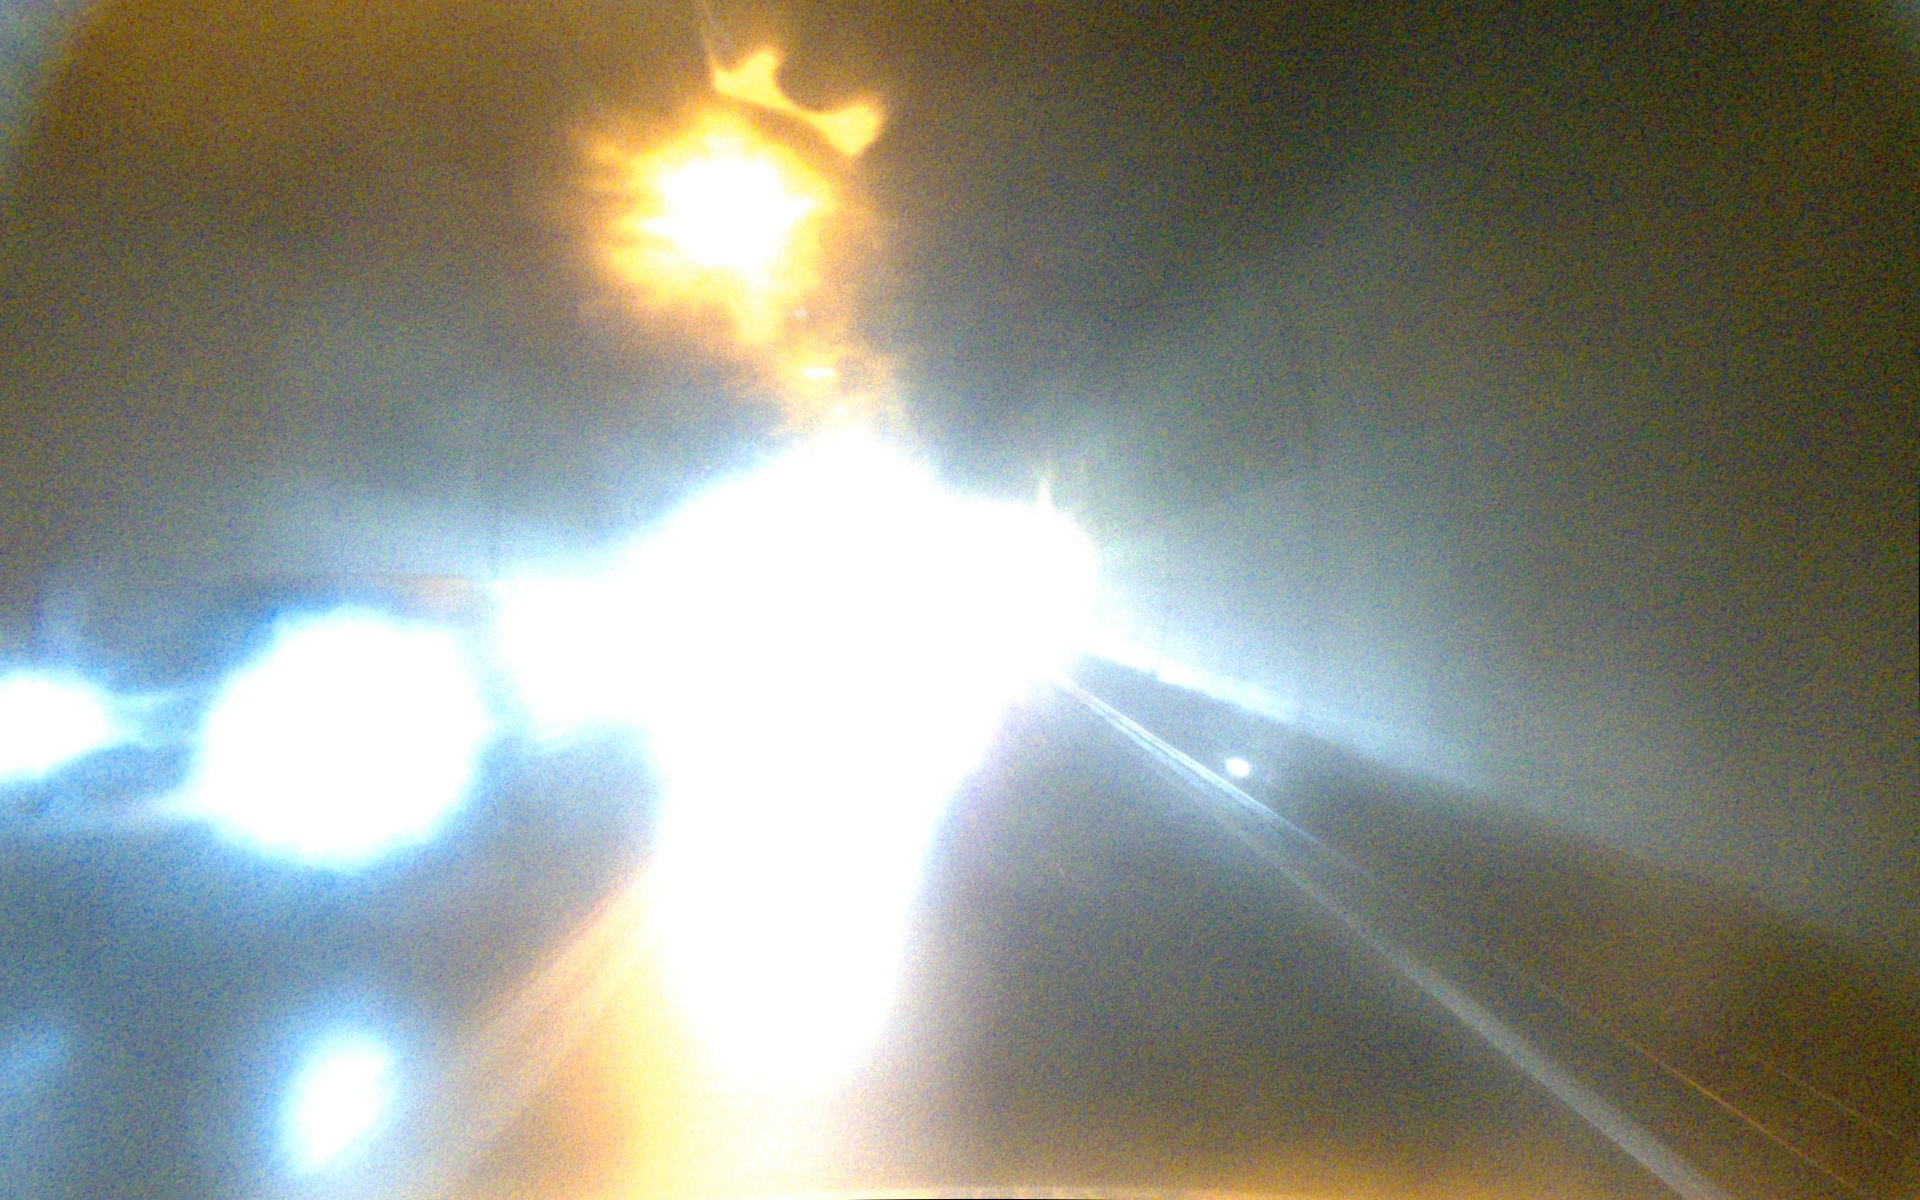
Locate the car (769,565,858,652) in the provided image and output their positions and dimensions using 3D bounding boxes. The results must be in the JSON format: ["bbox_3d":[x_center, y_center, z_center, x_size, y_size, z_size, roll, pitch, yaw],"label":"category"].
[{"bbox_3d":[-3.528,0.195,40.588,1.745,1.962,5.137,1,0,-1],"label":"car"}]

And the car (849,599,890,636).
[{"bbox_3d":[-4.289,0.820,78.924,1.745,1.705,4.560,1,0,-1],"label":"car"}]

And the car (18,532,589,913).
[{"bbox_3d":[-3.372,0.546,9.404,1.602,1.656,4.145,1,0,-1],"label":"car"}]

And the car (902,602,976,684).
[{"bbox_3d":[-0.497,0.952,38.693,1.602,1.788,4.145,1,0,-1],"label":"car"}]

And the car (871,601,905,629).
[{"bbox_3d":[-4.648,0.946,106.375,1.878,1.758,3.994,1,0,-7],"label":"car"}]
